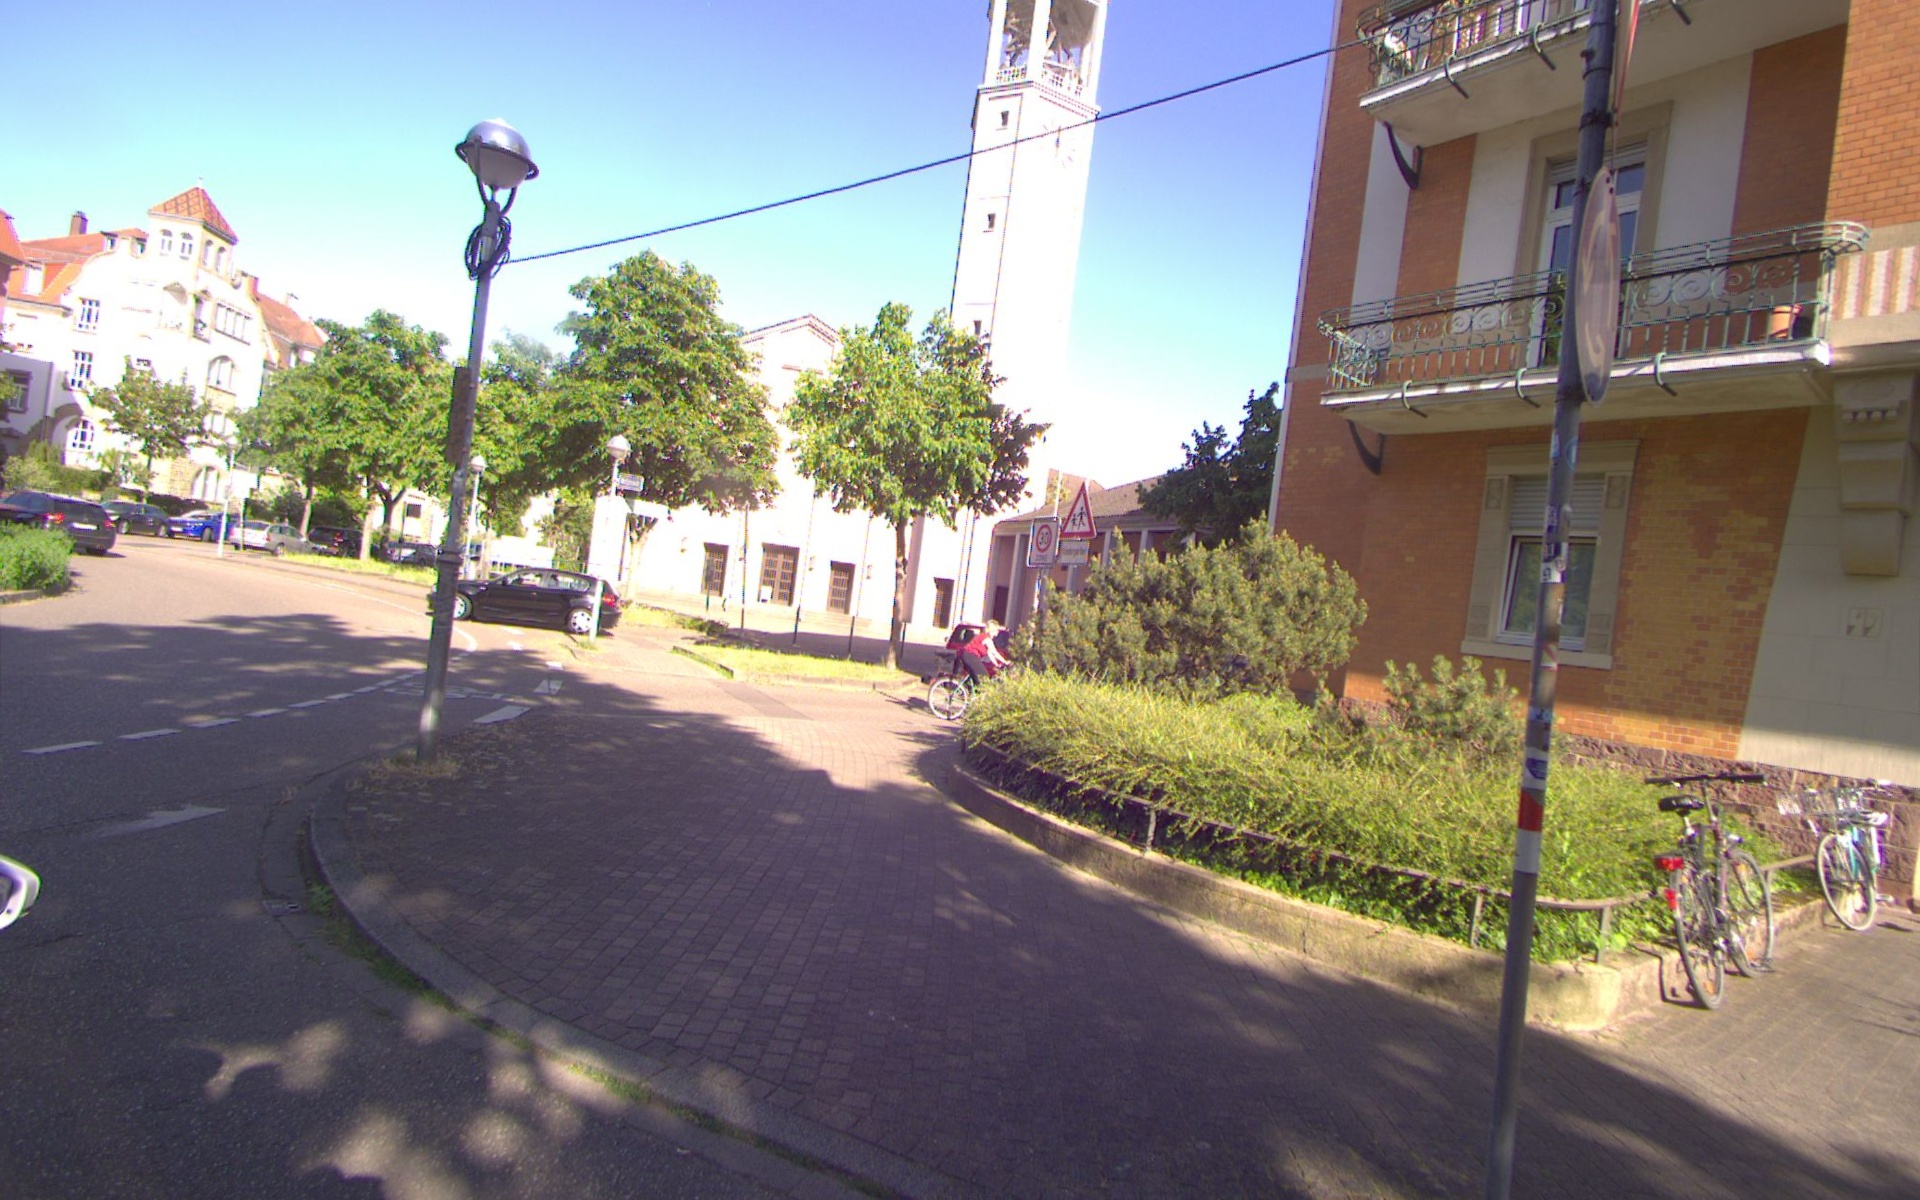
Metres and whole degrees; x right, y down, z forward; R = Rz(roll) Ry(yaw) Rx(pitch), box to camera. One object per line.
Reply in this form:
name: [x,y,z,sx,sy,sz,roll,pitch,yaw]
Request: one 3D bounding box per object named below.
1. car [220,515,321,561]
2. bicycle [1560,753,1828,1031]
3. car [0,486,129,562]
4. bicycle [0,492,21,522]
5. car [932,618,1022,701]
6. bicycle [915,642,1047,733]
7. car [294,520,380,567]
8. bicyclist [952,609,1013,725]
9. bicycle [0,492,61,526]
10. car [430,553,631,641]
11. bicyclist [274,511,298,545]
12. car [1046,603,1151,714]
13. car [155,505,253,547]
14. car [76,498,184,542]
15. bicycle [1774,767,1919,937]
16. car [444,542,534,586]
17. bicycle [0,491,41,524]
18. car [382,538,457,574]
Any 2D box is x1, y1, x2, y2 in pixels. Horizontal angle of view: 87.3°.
car: [-29.801,-2.649,43.664,1.780,1.432,4.332,9,-1,-9]
bicycle: [4.023,1.457,5.445,1.930,1.135,0.680,7,0,-42]
car: [-24.023,-2.057,26.398,3.928,1.551,1.828,7,0,25]
bicycle: [-40.471,-4.004,42.051,1.697,1.128,0.545,10,0,-5]
car: [0.452,1.243,22.154,1.638,1.452,3.698,8,-1,4]
bicycle: [0.305,1.355,15.622,1.841,1.121,0.697,8,0,-8]
car: [-29.890,-2.685,48.455,1.780,1.748,4.332,8,-1,-9]
bicyclist: [0.344,1.029,15.621,0.639,1.681,0.697,8,0,-8]
bicycle: [-40.476,-3.949,43.815,1.806,1.120,0.498,10,0,-20]
car: [-9.826,-0.063,23.348,3.939,1.436,1.865,8,0,-15]
bicyclist: [-36.549,-3.890,54.553,0.634,1.735,0.723,7,0,-4]
car: [3.156,1.303,23.482,1.956,2.070,4.709,8,-1,6]
car: [-37.899,-3.685,50.602,1.777,1.581,4.396,5,0,-5]
car: [-37.738,-3.605,45.901,1.779,1.502,4.331,5,0,-10]
bicycle: [6.829,1.871,7.672,1.660,1.085,0.495,7,0,-37]
car: [-30.368,-2.307,64.967,4.700,2.024,1.807,9,-1,-9]
bicycle: [-40.514,-3.972,43.005,1.697,1.128,0.545,10,0,-5]
car: [-30.345,-2.435,56.670,1.777,1.491,4.339,8,-1,-1]
